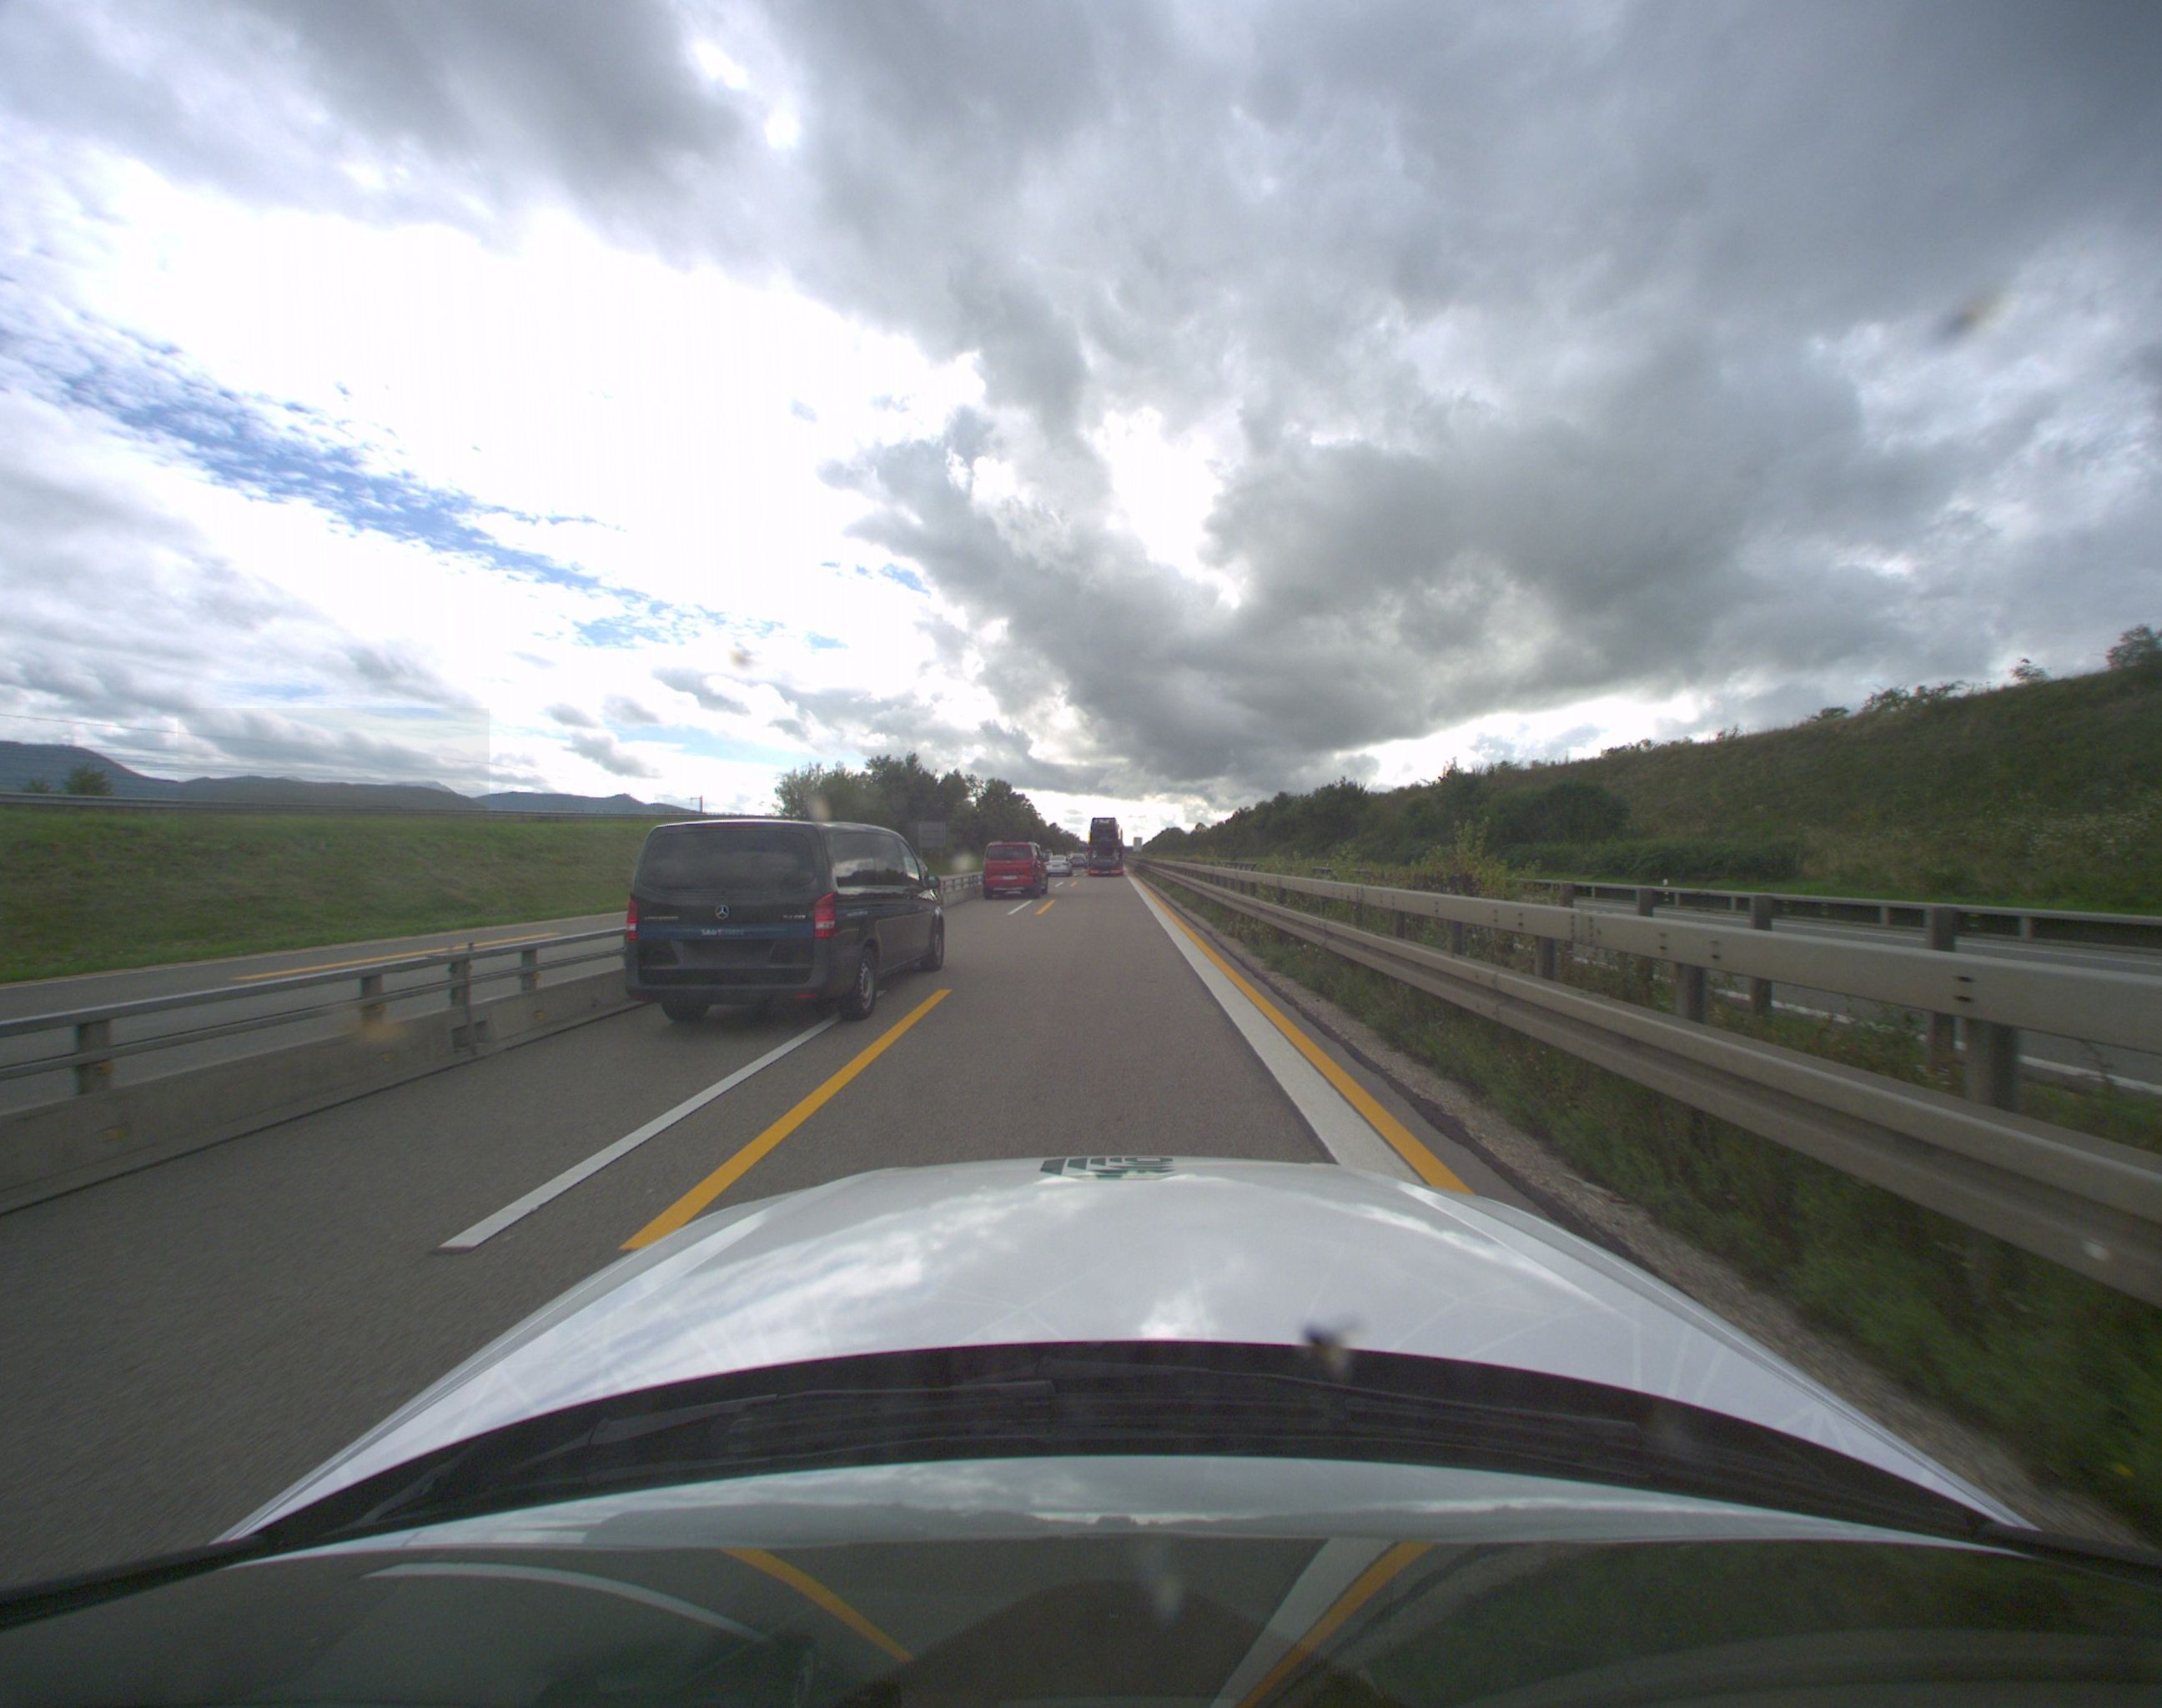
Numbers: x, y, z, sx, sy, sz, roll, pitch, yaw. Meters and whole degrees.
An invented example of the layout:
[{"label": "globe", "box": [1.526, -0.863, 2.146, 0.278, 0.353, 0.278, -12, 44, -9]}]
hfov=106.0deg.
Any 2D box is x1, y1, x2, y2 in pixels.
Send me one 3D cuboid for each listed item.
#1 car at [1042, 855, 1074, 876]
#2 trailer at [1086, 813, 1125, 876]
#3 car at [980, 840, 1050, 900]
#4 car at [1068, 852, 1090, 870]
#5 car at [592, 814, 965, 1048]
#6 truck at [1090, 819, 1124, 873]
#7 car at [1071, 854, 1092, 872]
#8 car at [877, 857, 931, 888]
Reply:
[{"label": "car", "box": [-1.588, 0.777, 57.748, 2.024, 1.430, 4.579, -1, 0, 1]}, {"label": "trailer", "box": [1.891, -0.610, 59.474, 2.505, 4.105, 11.120, -1, 0, 3]}, {"label": "car", "box": [-2.323, 0.549, 29.894, 2.023, 2.013, 4.580, -1, 0, 2]}, {"label": "car", "box": [-0.195, 0.733, 83.033, 2.024, 1.757, 4.579, -1, 0, 1]}, {"label": "car", "box": [-2.850, 0.632, 9.389, 1.986, 1.843, 5.612, -1, 0, 2]}, {"label": "truck", "box": [2.114, -0.591, 64.237, 2.505, 4.105, 5.689, -1, 0, 3]}, {"label": "car", "box": [0.053, 0.869, 82.813, 2.024, 1.757, 4.579, -1, 0, 1]}, {"label": "car", "box": [-8.697, 0.886, 40.314, 1.751, 1.388, 4.000, -1, 0, 0]}]
